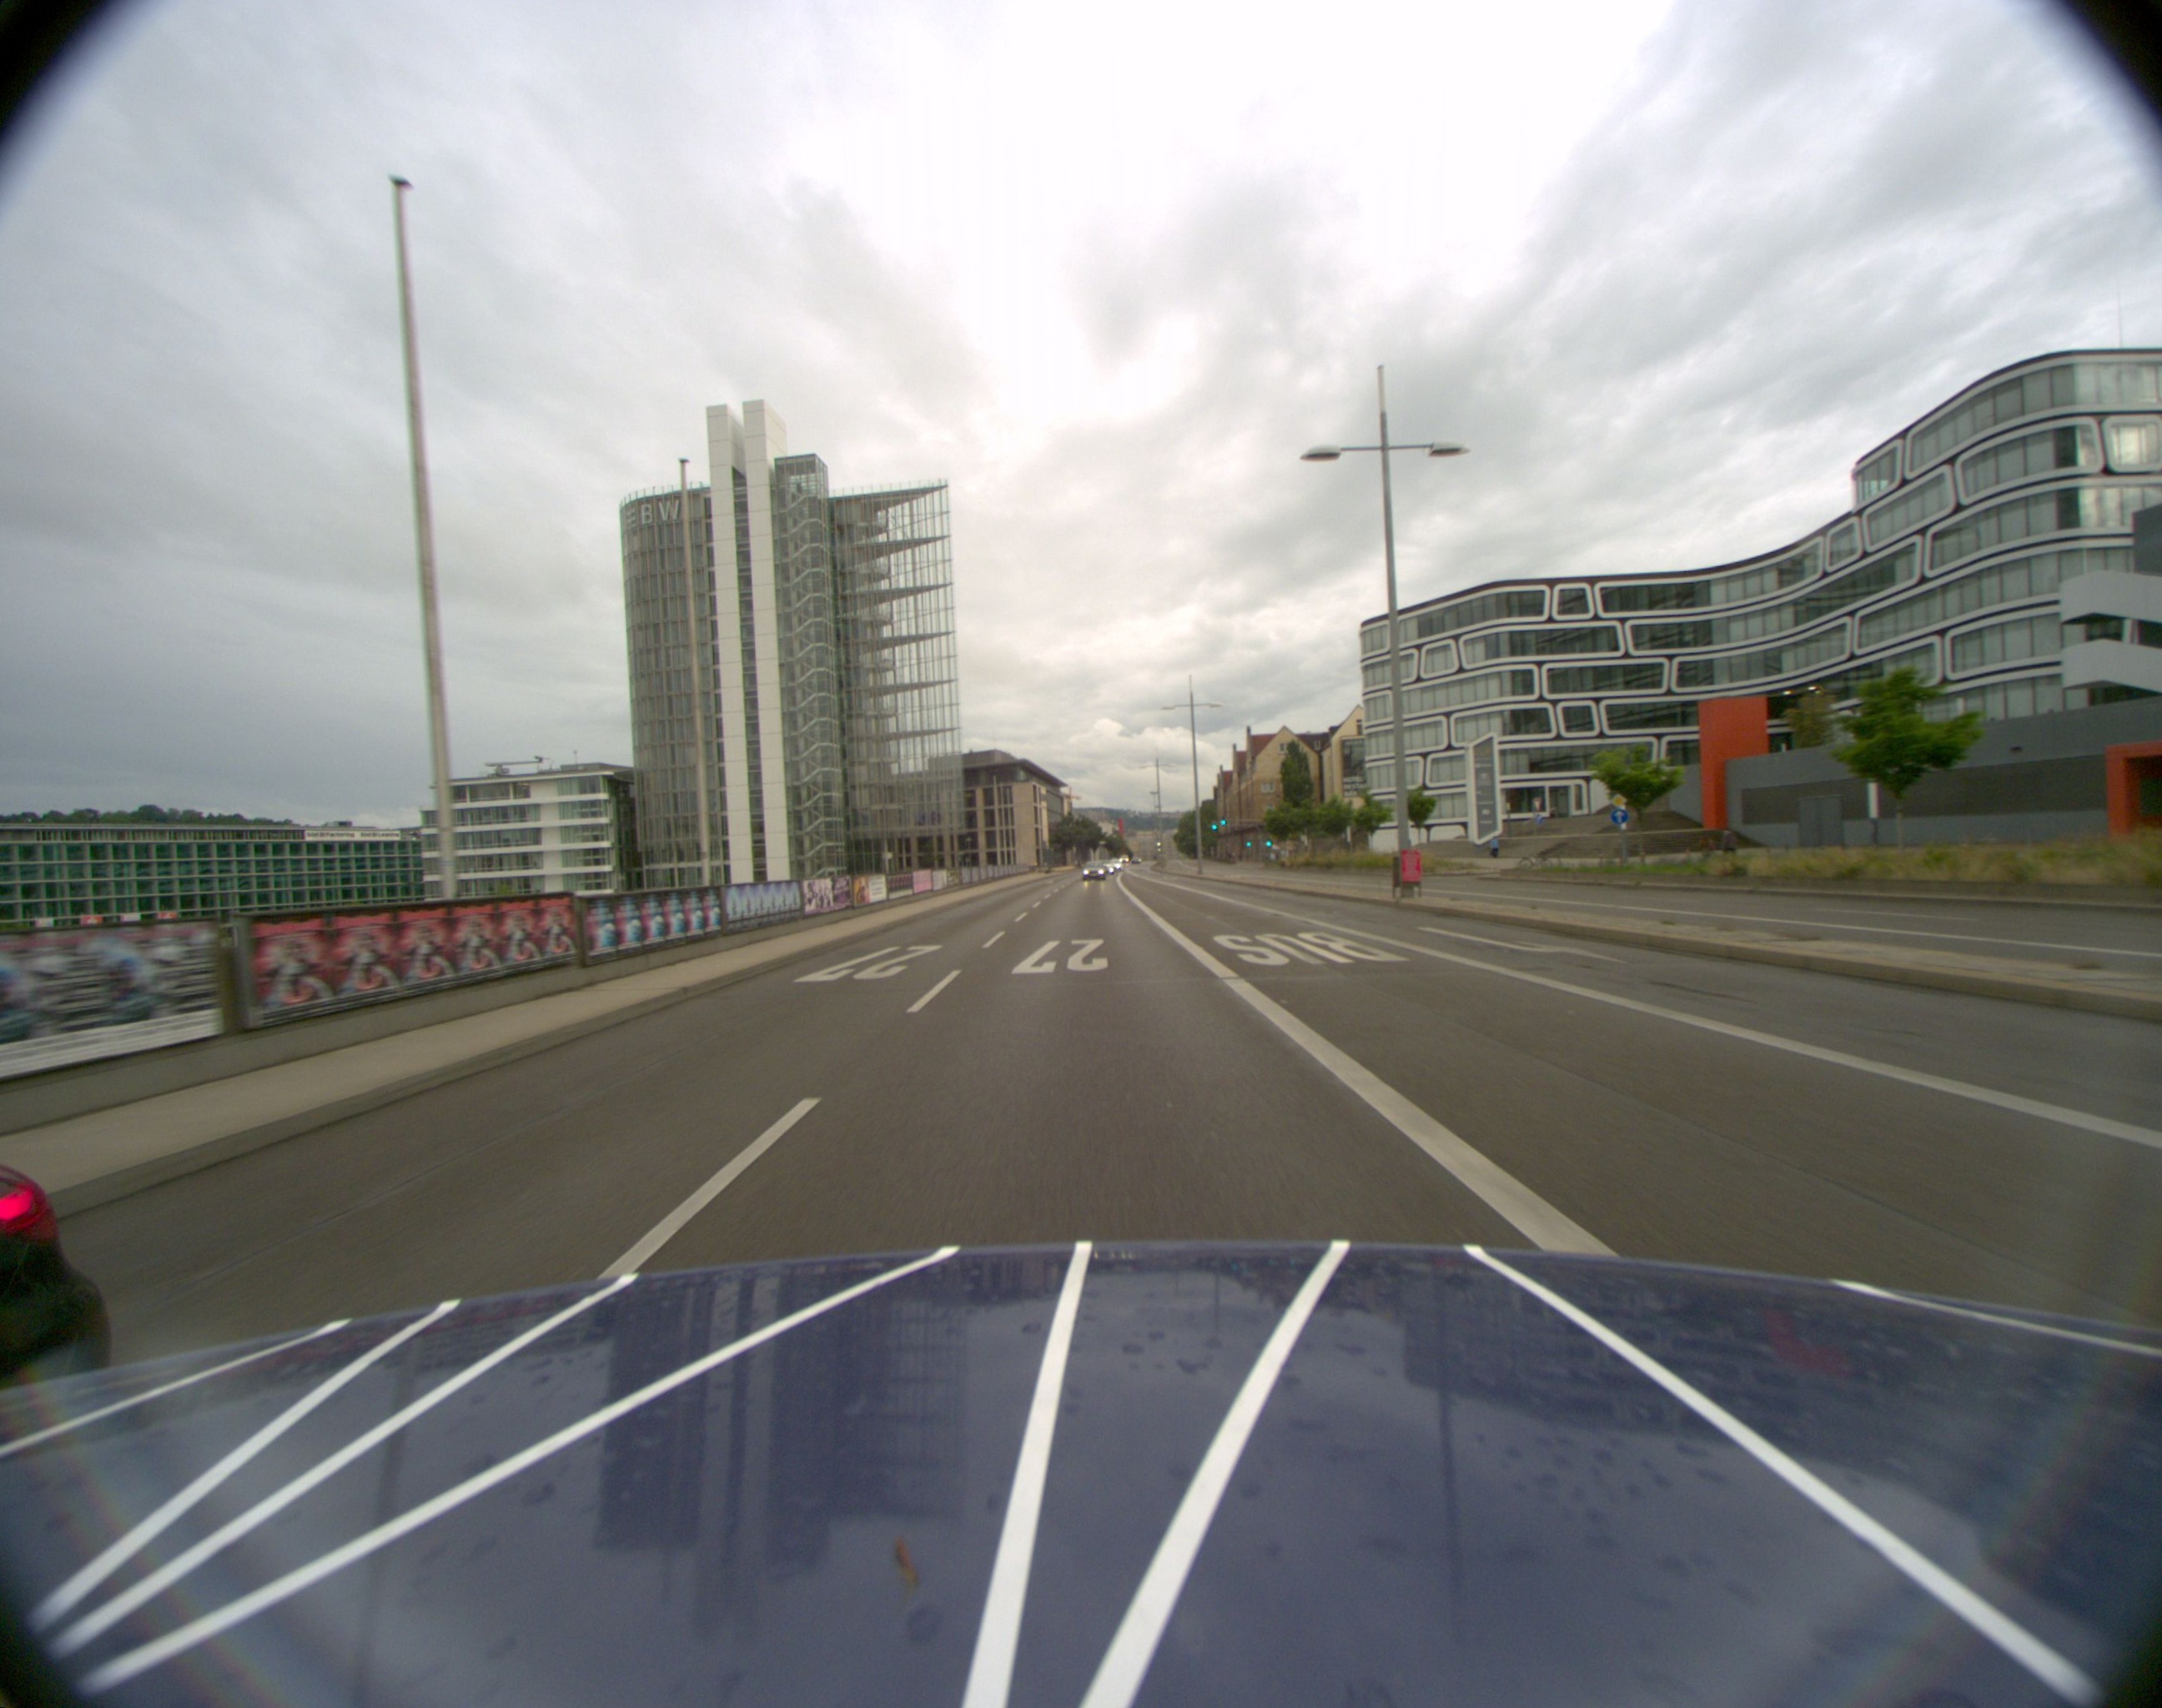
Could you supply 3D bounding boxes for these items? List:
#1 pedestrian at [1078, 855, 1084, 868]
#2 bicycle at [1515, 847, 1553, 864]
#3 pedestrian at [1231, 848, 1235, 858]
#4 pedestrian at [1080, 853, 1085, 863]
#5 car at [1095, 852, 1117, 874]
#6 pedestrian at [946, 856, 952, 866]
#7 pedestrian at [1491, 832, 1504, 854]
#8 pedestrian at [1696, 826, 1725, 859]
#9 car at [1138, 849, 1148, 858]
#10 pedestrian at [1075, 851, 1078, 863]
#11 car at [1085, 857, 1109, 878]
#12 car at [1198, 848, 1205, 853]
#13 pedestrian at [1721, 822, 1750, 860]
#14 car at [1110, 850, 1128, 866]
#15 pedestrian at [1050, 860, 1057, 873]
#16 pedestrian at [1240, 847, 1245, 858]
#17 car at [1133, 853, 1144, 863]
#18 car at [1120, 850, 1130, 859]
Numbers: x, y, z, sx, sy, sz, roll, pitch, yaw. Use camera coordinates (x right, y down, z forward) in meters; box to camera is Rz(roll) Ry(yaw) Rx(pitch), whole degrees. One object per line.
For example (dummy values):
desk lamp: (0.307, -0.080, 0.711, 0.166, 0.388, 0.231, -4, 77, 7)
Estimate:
pedestrian: (0.022, 1.120, 113.313, 0.727, 1.761, 0.783, -2, 2, 5)
bicycle: (24.548, 0.075, 41.220, 0.610, 0.852, 1.653, -3, 2, -33)
pedestrian: (27.434, -0.204, 137.272, 0.677, 1.769, 0.684, -2, 2, 7)
pedestrian: (0.233, 0.594, 112.391, 0.542, 1.519, 0.601, -2, 2, 5)
car: (2.427, 0.859, 74.872, 1.999, 2.002, 3.999, -2, 1, -1)
pedestrian: (-22.544, 1.187, 129.950, 0.634, 1.735, 0.635, -1, 2, 27)
pedestrian: (30.796, -0.809, 56.191, 0.612, 1.602, 0.639, -3, 2, 4)
pedestrian: (27.845, -0.502, 33.614, 0.619, 1.438, 0.798, -2, 2, 2)
car: (14.932, -0.069, 182.829, 1.999, 2.002, 3.999, -2, 1, -1)
pedestrian: (-0.650, 0.441, 111.602, 0.461, 1.590, 0.656, -2, 2, 3)
car: (1.176, 1.019, 57.673, 1.684, 1.379, 3.475, -2, 1, 0)
car: (35.007, -1.019, 221.417, 1.714, 1.455, 4.002, -3, 0, 7)
pedestrian: (28.941, -0.575, 33.614, 0.619, 1.648, 0.798, -2, 2, 2)
car: (4.620, 0.531, 92.115, 1.970, 1.815, 3.930, -3, -1, 6)
pedestrian: (-3.467, 1.526, 94.944, 0.660, 1.601, 0.547, -3, 0, 7)
pedestrian: (28.433, -0.286, 133.743, 0.677, 1.769, 0.684, -2, 2, 7)
car: (12.745, 0.798, 168.448, 1.999, 2.002, 3.999, -2, 1, -1)
car: (10.880, 0.123, 187.626, 1.999, 2.002, 3.999, -2, 1, -1)
